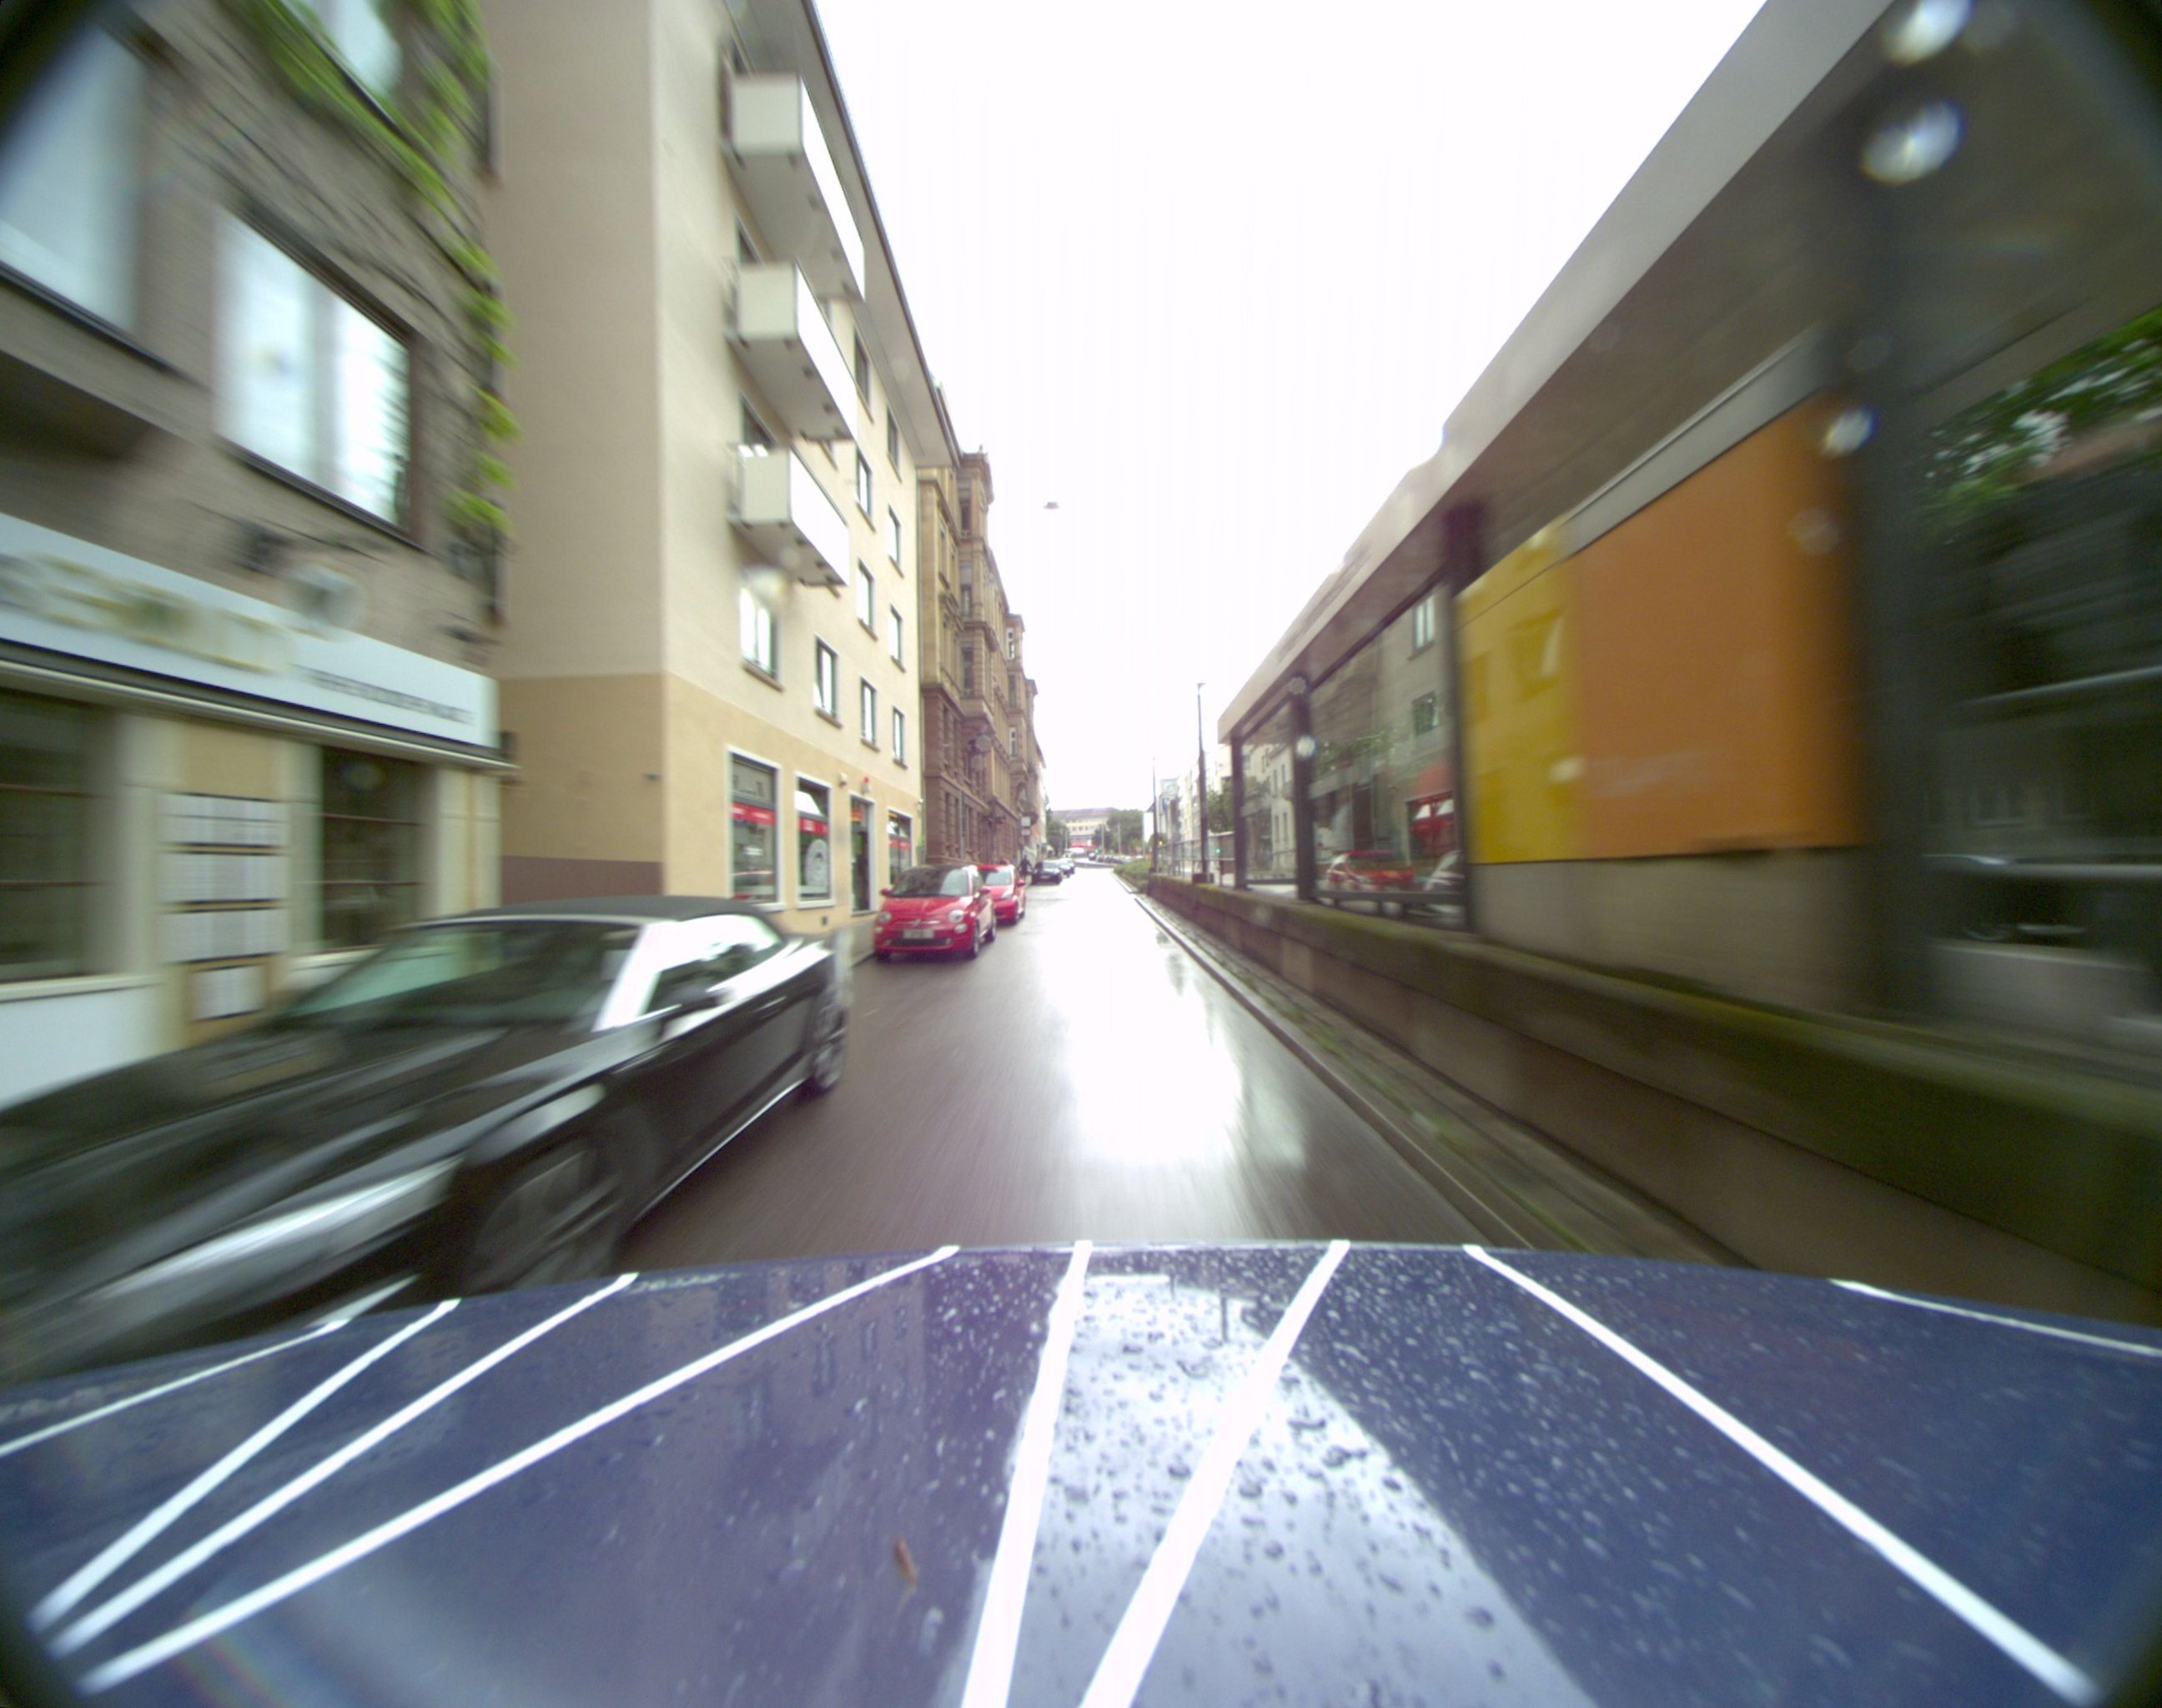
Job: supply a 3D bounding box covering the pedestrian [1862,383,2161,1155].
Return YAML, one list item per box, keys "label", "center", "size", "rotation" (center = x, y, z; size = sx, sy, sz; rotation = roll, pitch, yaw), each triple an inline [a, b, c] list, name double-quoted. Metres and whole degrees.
- label: "pedestrian"
  center: [2.709, -0.187, 1.934]
  size: [0.712, 1.684, 0.701]
  rotation: [-1, 1, -2]

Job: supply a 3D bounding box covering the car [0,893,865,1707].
- label: "car"
  center: [-2.624, 1.052, 3.648]
  size: [1.911, 1.453, 4.245]
  rotation: [-1, 0, 0]

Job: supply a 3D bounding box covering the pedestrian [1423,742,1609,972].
- label: "pedestrian"
  center: [2.620, 0.017, 4.648]
  size: [0.730, 1.294, 0.701]
  rotation: [-1, 1, -2]

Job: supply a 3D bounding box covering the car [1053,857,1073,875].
- label: "car"
  center: [-1.510, 0.989, 63.995]
  size: [1.588, 1.343, 3.977]
  rotation: [-1, 0, -1]

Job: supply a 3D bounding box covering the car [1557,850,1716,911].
- label: "car"
  center: [15.314, 0.661, 21.213]
  size: [1.643, 1.530, 3.803]
  rotation: [-1, 0, 0]

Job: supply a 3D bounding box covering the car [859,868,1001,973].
- label: "car"
  center: [-2.436, 1.022, 13.047]
  size: [1.649, 1.454, 3.414]
  rotation: [-1, 0, 1]

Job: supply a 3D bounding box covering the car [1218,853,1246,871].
- label: "car"
  center: [12.877, 0.664, 64.913]
  size: [1.642, 1.453, 3.963]
  rotation: [-1, 0, 1]

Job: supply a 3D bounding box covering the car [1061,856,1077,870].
- label: "car"
  center: [-1.256, 0.915, 78.865]
  size: [1.588, 1.442, 3.978]
  rotation: [-1, 0, 0]

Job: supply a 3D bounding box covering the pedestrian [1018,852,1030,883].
- label: "pedestrian"
  center: [-3.254, 0.790, 43.713]
  size: [0.653, 1.752, 0.882]
  rotation: [-1, 1, -3]

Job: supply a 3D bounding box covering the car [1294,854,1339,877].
- label: "car"
  center: [15.372, 0.717, 49.848]
  size: [1.718, 1.367, 4.457]
  rotation: [-1, 0, 2]

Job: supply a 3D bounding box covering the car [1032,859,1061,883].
- label: "car"
  center: [-2.091, 1.000, 46.653]
  size: [1.628, 1.343, 3.829]
  rotation: [-1, 0, -1]

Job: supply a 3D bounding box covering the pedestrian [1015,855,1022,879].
- label: "pedestrian"
  center: [-4.341, 0.917, 52.769]
  size: [0.485, 1.635, 0.463]
  rotation: [-1, 1, -3]

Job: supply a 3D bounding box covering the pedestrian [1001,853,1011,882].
- label: "pedestrian"
  center: [-4.294, 0.792, 43.623]
  size: [0.489, 1.635, 0.631]
  rotation: [-1, 1, -3]

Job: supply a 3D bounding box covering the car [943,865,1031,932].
- label: "car"
  center: [-2.281, 1.052, 19.295]
  size: [1.720, 1.454, 3.445]
  rotation: [-1, 0, 1]

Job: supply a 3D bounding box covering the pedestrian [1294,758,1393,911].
- label: "pedestrian"
  center: [3.069, -0.221, 8.943]
  size: [0.919, 1.714, 0.701]
  rotation: [-1, 1, -2]

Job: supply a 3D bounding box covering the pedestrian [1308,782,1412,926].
- label: "pedestrian"
  center: [2.620, -0.004, 7.200]
  size: [0.729, 1.294, 0.701]
  rotation: [-1, 1, 0]

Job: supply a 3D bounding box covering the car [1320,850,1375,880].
- label: "car"
  center: [15.360, 0.601, 44.014]
  size: [1.662, 1.575, 4.337]
  rotation: [-1, 0, -1]

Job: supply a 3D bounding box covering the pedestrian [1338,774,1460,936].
- label: "pedestrian"
  center: [2.686, 0.006, 6.481]
  size: [0.730, 1.294, 0.701]
  rotation: [-1, 1, -2]

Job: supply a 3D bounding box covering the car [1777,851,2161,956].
- label: "car"
  center: [14.948, 0.702, 13.072]
  size: [1.696, 1.453, 4.529]
  rotation: [-1, 0, -2]
